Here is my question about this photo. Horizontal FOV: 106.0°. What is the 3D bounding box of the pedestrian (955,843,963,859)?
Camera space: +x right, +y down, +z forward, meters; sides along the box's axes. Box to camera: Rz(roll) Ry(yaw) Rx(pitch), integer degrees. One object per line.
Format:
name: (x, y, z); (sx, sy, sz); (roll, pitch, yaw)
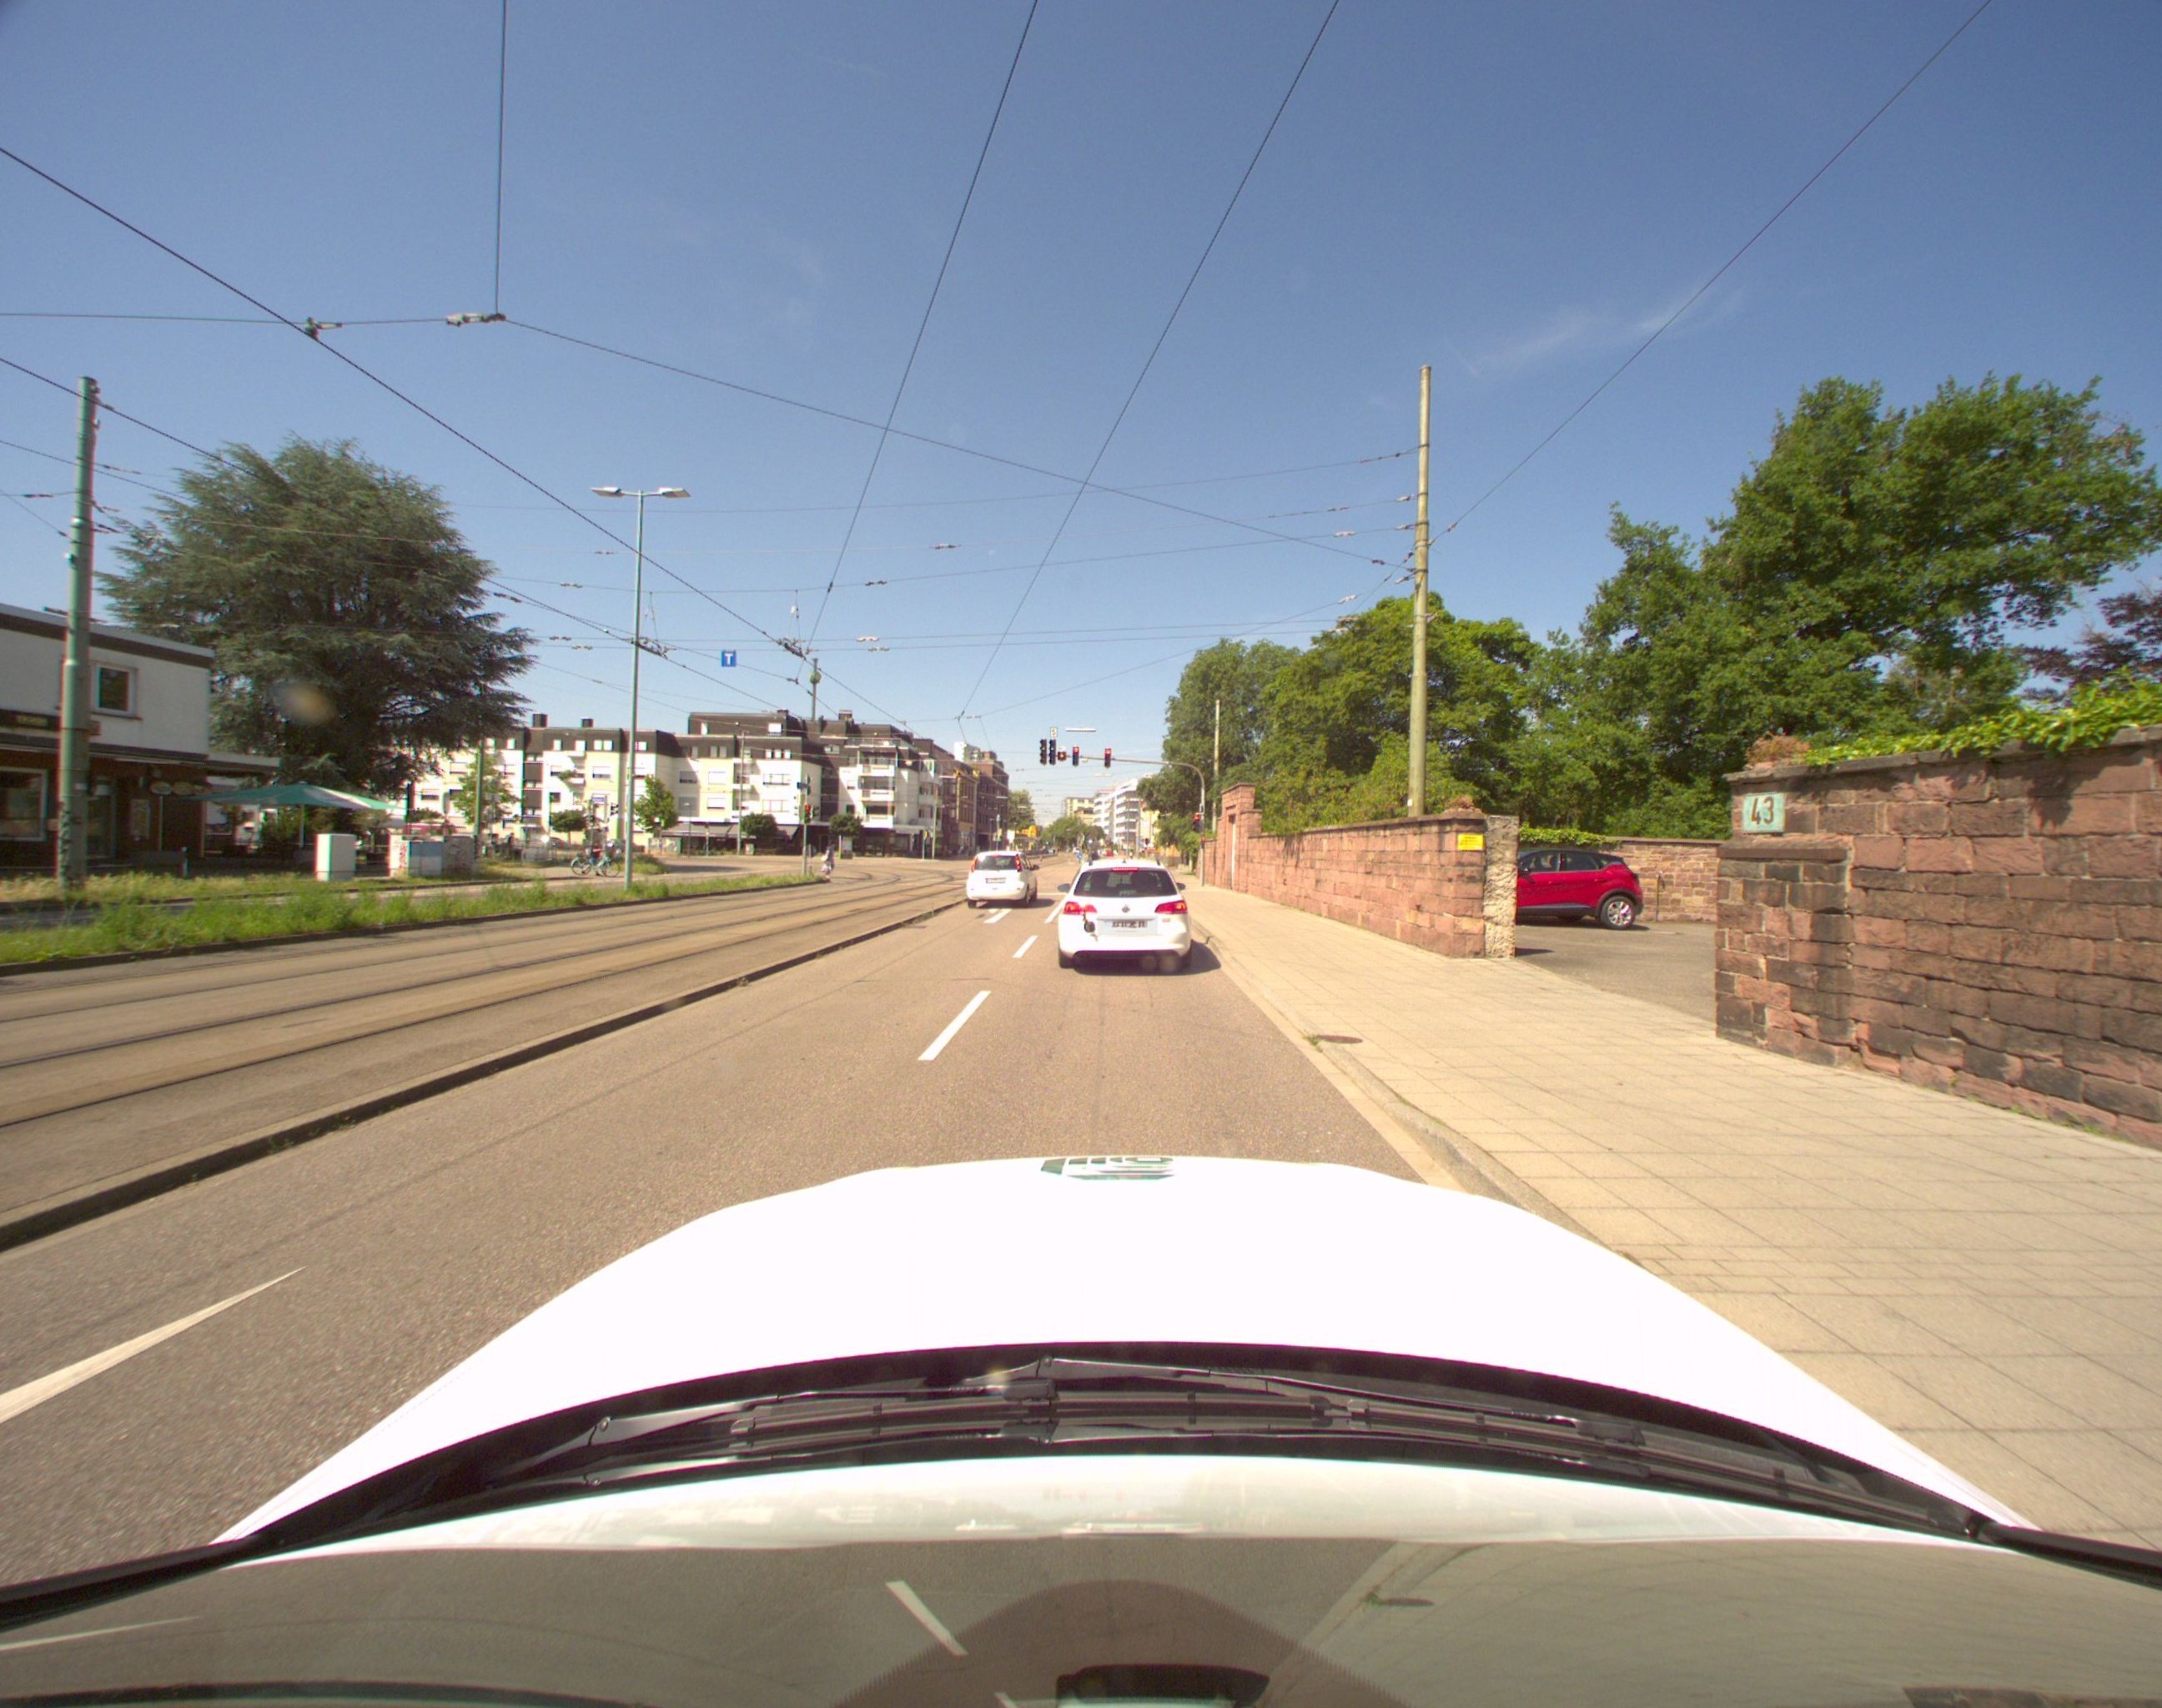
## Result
pedestrian: (-15.906, -0.416, 106.230); (0.935, 2.013, 0.989); (1, 0, -5)

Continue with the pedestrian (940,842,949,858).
pedestrian: (-17.250, -0.491, 102.996); (0.934, 2.013, 0.990); (1, 0, -2)

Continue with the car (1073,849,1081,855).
car: (-1.211, -0.483, 230.013); (1.697, 1.591, 3.525); (1, 0, -8)

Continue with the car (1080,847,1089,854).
car: (1.008, -1.015, 254.053); (1.995, 2.013, 3.984); (1, 0, -12)

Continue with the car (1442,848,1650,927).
car: (9.447, 0.648, 16.730); (3.395, 1.464, 1.524); (1, 0, 0)

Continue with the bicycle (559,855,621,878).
bicycle: (-20.806, 0.532, 34.571); (2.188, 0.921, 0.547); (1, 0, -40)

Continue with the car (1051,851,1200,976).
car: (0.668, 0.722, 11.833); (1.771, 1.490, 3.851); (-1, 0, 4)

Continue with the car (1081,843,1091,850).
car: (1.512, -2.368, 248.870); (1.996, 2.013, 3.982); (3, 0, -13)

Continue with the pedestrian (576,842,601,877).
pedestrian: (-21.056, 0.225, 34.845); (0.820, 1.487, 0.559); (1, 0, -40)

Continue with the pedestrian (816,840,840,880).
pedestrian: (-11.283, 0.247, 36.309); (0.825, 1.738, 0.930); (1, 0, -6)

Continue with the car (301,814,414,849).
car: (-49.461, -1.506, 55.756); (5.535, 2.013, 2.250); (3, 0, 0)

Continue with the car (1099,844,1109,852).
car: (6.384, -1.727, 227.853); (1.995, 2.013, 3.984); (1, 0, -12)

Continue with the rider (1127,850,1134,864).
rider: (6.284, 0.382, 103.851); (0.887, 1.728, 2.205); (1, 0, 3)

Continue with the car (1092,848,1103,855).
car: (4.343, -0.614, 211.765); (1.995, 1.903, 3.984); (1, 0, -12)

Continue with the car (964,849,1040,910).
car: (-2.210, 0.667, 23.748); (1.724, 1.596, 4.012); (1, 0, 1)

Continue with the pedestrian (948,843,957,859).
pedestrian: (-16.267, -0.435, 103.092); (0.934, 2.013, 0.989); (1, 0, -3)

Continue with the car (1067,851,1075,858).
car: (-2.305, 0.152, 186.968); (1.692, 1.591, 3.535); (1, 0, 1)

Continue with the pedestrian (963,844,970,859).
pedestrian: (-15.692, -0.384, 111.653); (0.934, 2.013, 0.989); (1, 0, -4)

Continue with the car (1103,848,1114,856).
car: (7.296, -0.445, 213.495); (1.995, 2.013, 3.984); (1, 0, -12)
